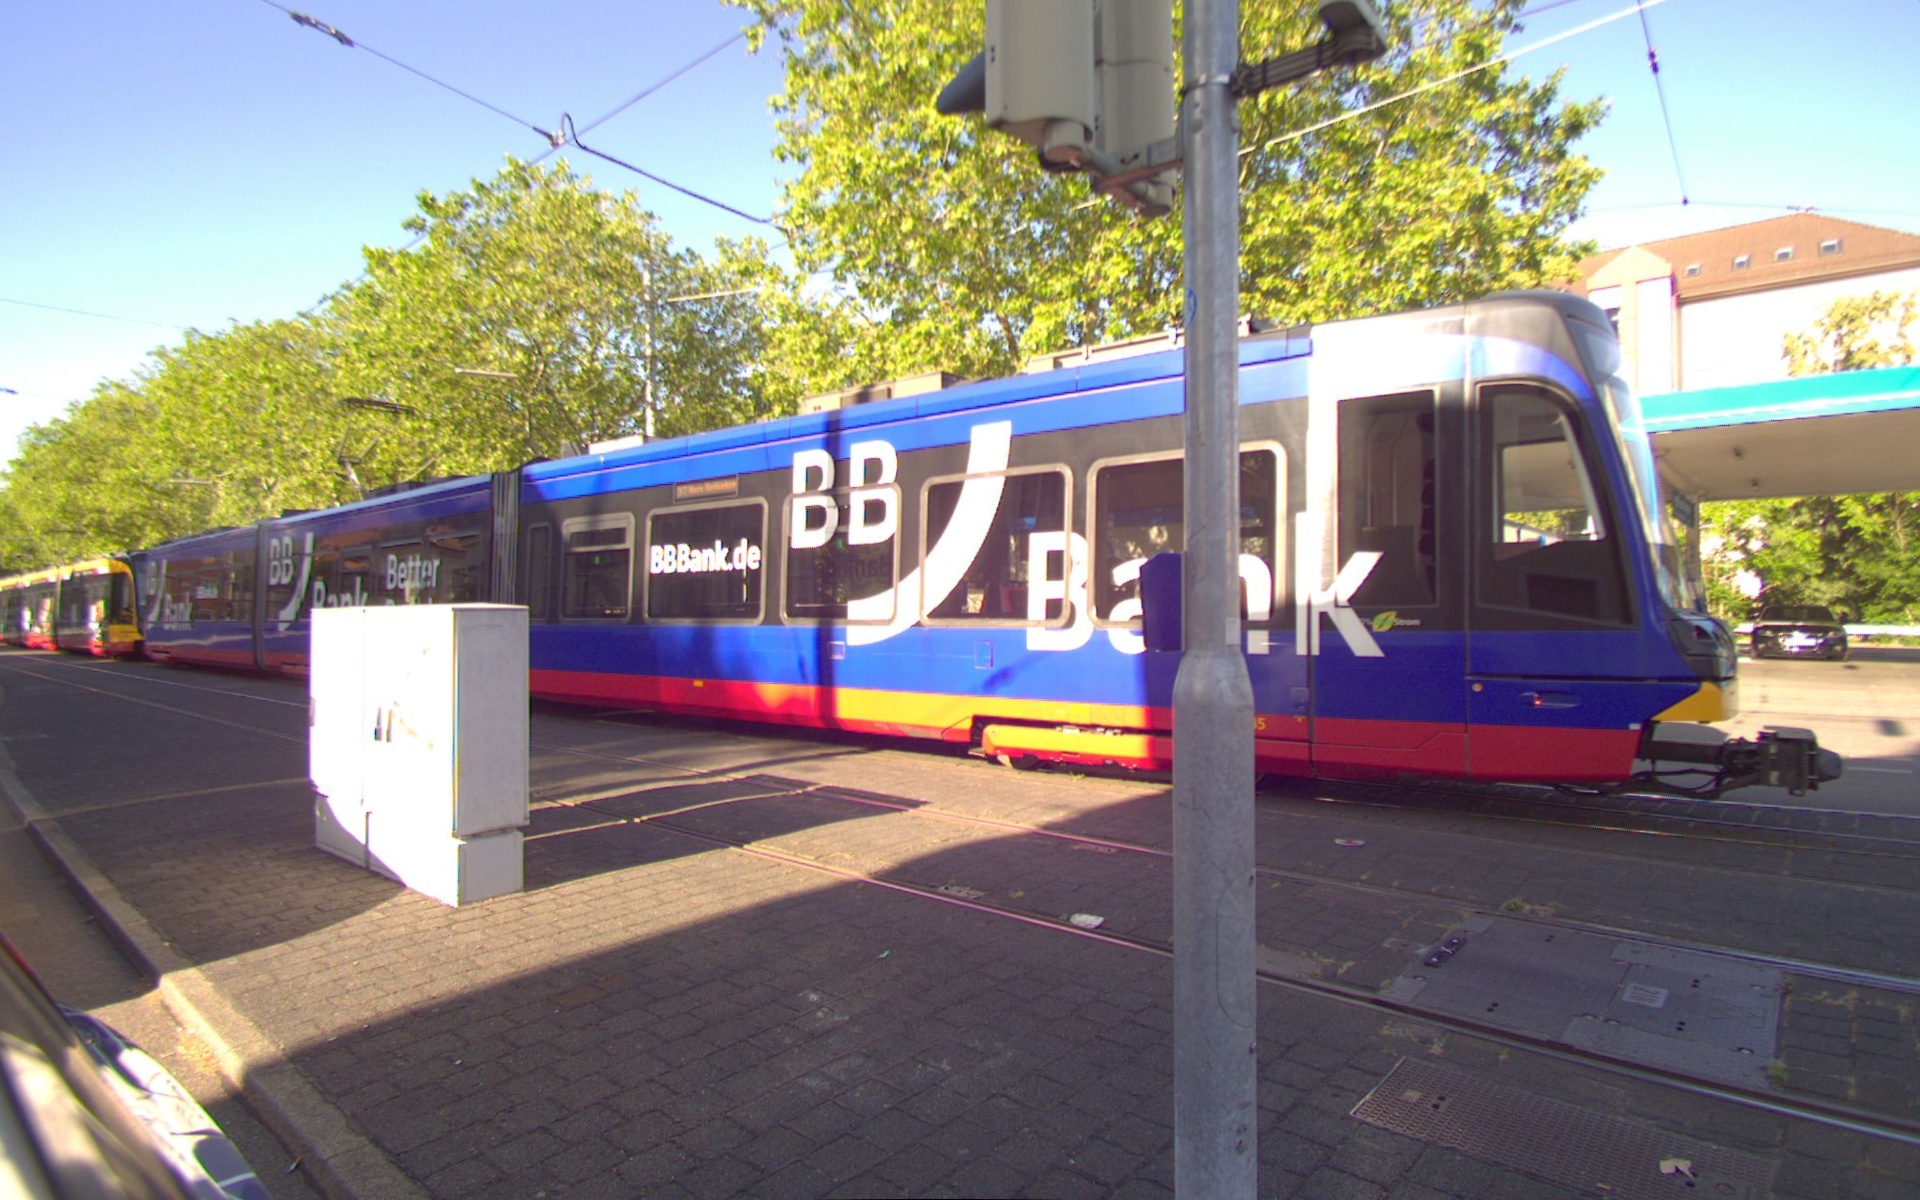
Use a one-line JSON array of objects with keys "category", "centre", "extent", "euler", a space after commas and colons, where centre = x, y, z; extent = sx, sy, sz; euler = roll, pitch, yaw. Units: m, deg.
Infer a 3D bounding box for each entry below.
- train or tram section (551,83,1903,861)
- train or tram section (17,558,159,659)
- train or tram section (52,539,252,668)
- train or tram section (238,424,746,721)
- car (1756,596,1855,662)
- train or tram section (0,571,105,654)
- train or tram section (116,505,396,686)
[{"category": "train or tram section", "centre": [0.615, -0.497, 9.745], "extent": [12.102, 3.640, 3.025], "euler": [-1, -1, 39]}, {"category": "train or tram section", "centre": [-36.093, 0.407, 41.645], "extent": [11.948, 3.640, 3.022], "euler": [-1, -2, 43]}, {"category": "train or tram section", "centre": [-27.141, 0.210, 33.647], "extent": [12.107, 3.640, 3.023], "euler": [-1, -2, 41]}, {"category": "train or tram section", "centre": [-8.839, -0.225, 17.583], "extent": [12.492, 3.640, 3.024], "euler": [-1, -1, 40]}, {"category": "car", "centre": [20.841, 0.683, 24.956], "extent": [1.716, 1.497, 4.162], "euler": [-1, -1, 40]}, {"category": "train or tram section", "centre": [-45.285, 0.685, 49.930], "extent": [12.886, 3.640, 3.022], "euler": [-1, -2, 42]}, {"category": "train or tram section", "centre": [-18.161, 0.019, 25.546], "extent": [12.109, 3.640, 3.023], "euler": [-1, -2, 41]}]
